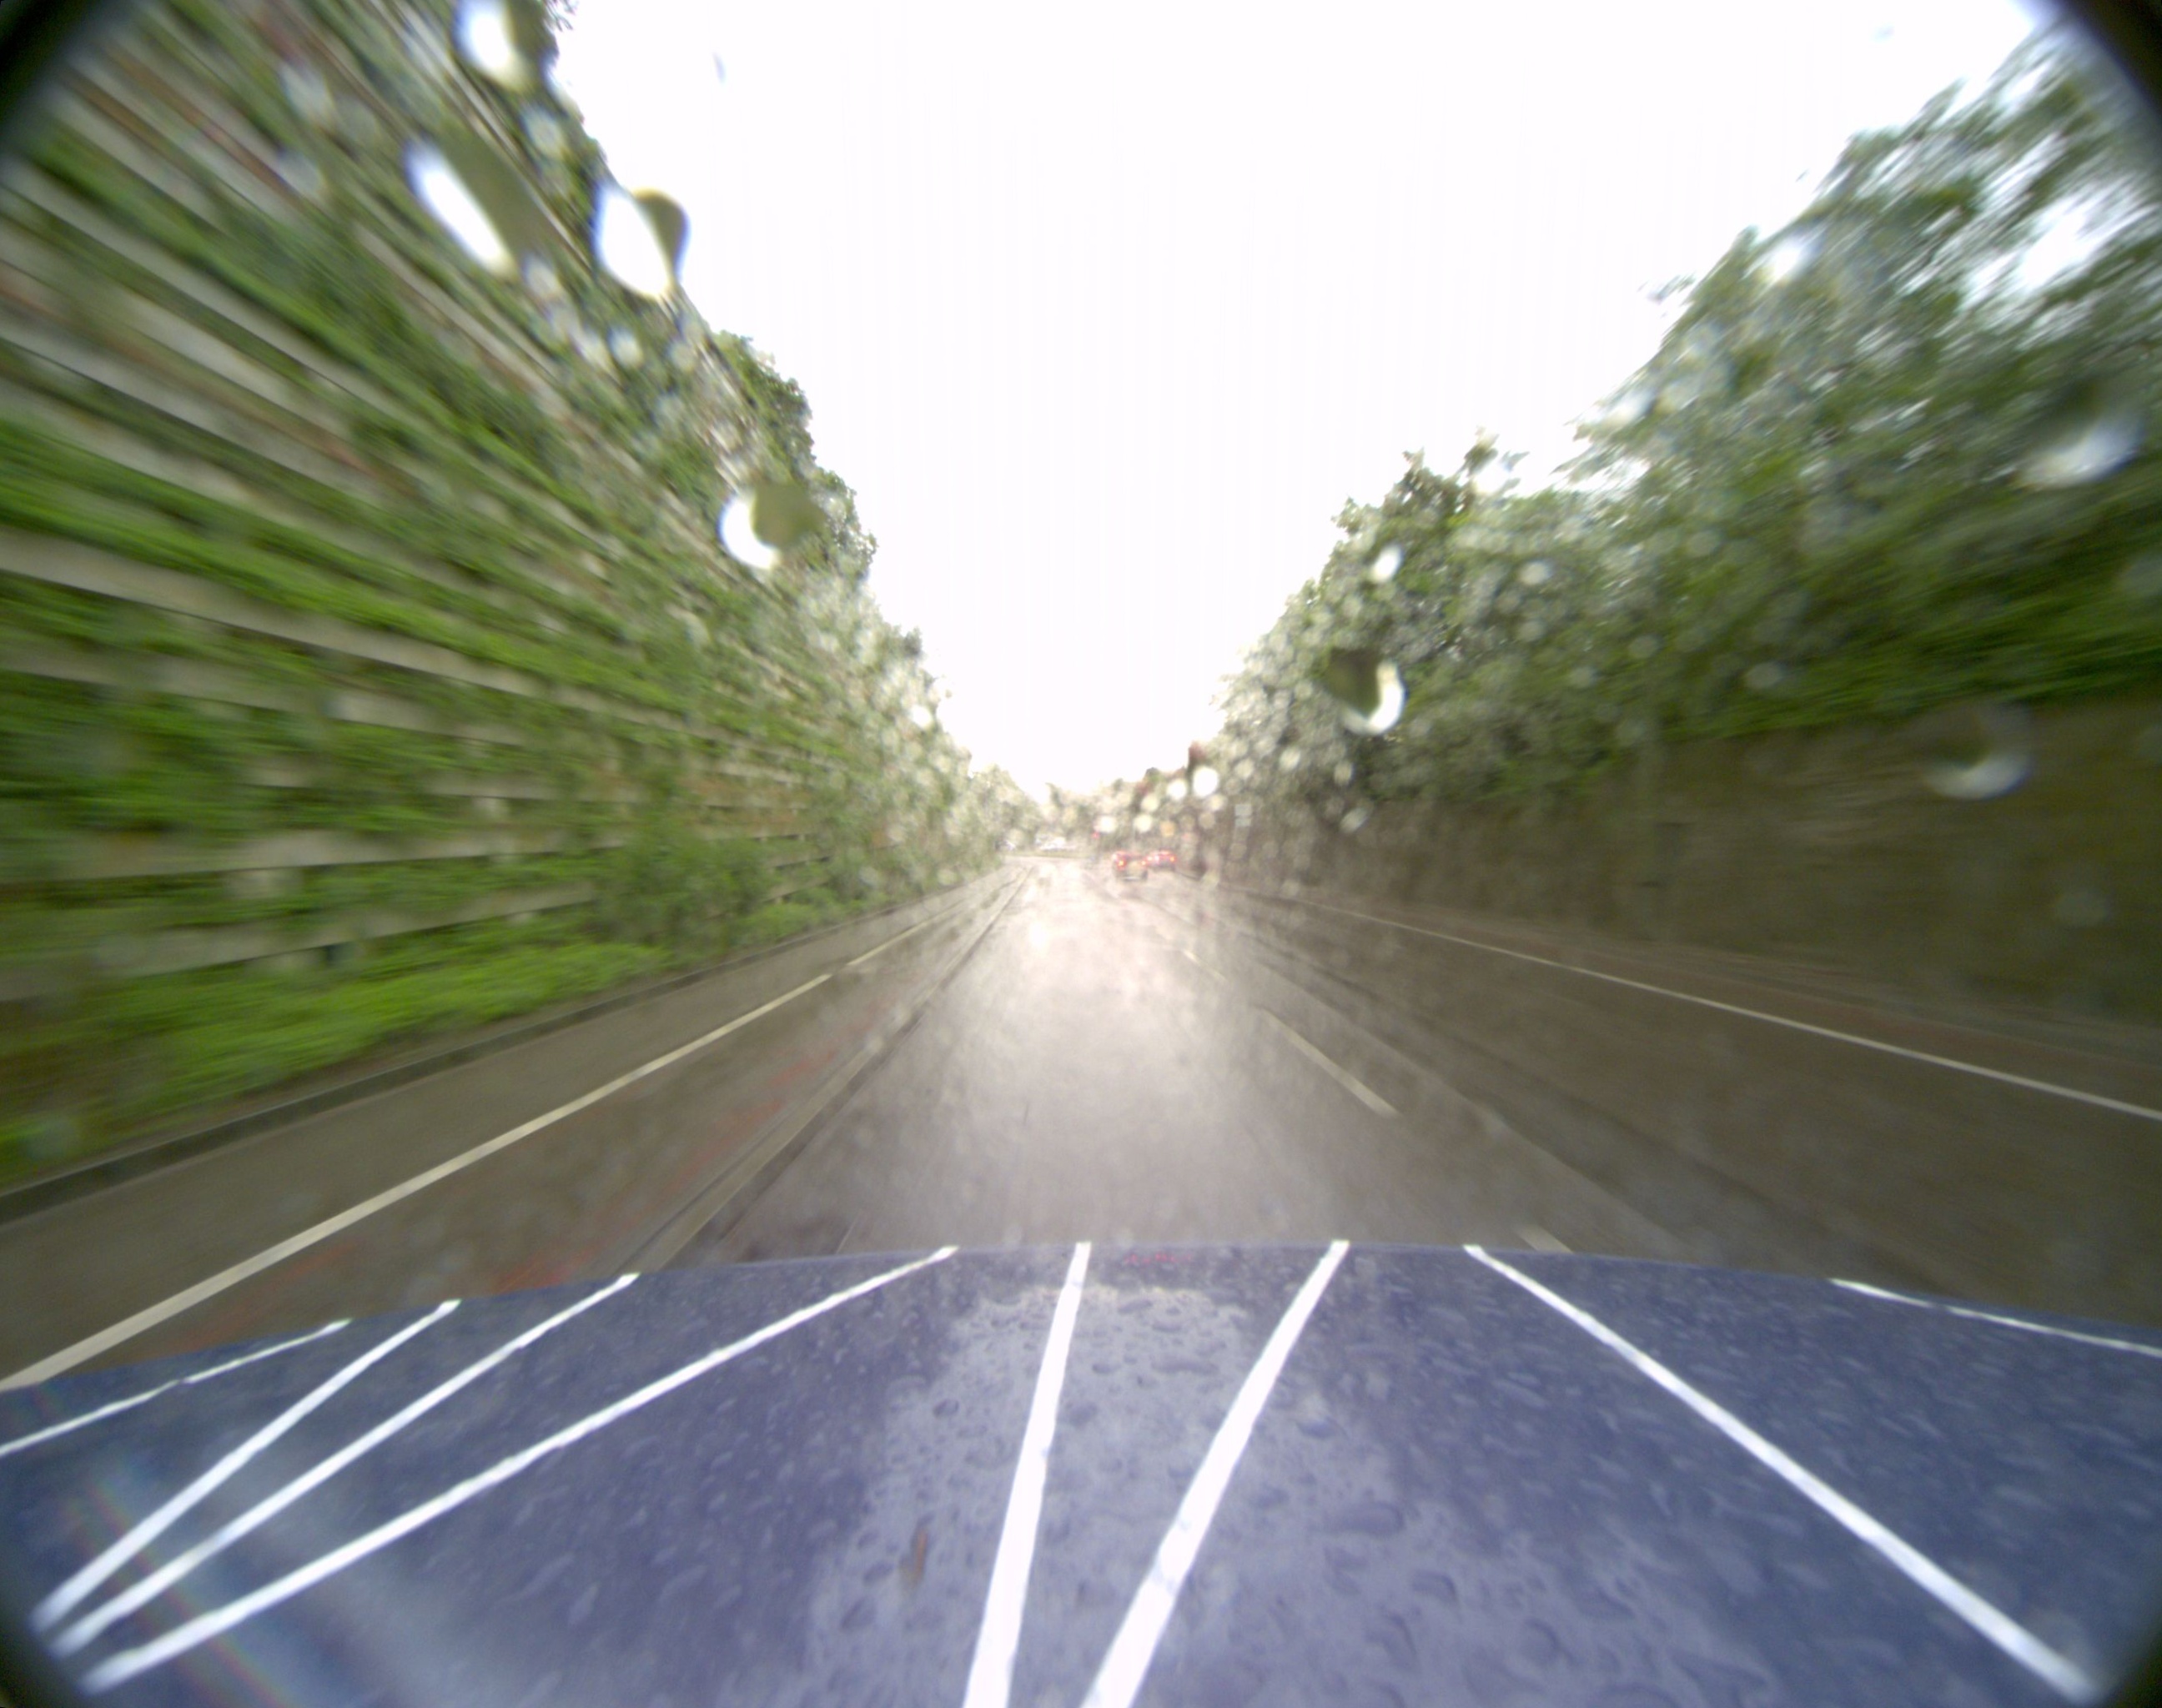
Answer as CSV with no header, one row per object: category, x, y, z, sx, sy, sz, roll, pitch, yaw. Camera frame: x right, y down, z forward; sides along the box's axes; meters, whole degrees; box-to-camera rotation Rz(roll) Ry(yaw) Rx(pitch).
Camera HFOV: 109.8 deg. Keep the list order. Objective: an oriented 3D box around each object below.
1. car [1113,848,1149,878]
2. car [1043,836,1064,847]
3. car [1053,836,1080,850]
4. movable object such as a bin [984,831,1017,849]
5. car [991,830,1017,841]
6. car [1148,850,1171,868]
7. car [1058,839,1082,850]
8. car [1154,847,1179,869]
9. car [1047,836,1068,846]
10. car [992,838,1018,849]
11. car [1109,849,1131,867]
car,2.892,0.509,44.523,1.737,1.609,3.998,-1,1,-1
car,-5.333,-2.431,146.430,3.962,1.869,1.692,2,2,-6
car,-2.413,-1.807,124.634,4.233,1.969,1.903,2,2,-2
movable object such as a bin,-12.377,-2.195,115.994,2.316,2.671,5.686,1,1,-37
car,-13.495,-3.266,134.042,4.387,1.756,1.921,2,2,-1
car,7.322,0.460,71.207,1.998,1.494,4.729,2,2,5
car,-1.802,-1.556,122.319,3.822,1.559,1.774,2,2,-2
car,7.170,0.329,63.956,1.819,1.648,4.050,1,2,3
car,-4.463,-2.432,144.010,3.881,1.619,1.692,2,2,-6
car,-12.181,-1.634,121.808,3.998,1.565,1.669,2,2,-2
car,3.690,0.389,70.501,1.873,1.592,4.002,1,0,5
